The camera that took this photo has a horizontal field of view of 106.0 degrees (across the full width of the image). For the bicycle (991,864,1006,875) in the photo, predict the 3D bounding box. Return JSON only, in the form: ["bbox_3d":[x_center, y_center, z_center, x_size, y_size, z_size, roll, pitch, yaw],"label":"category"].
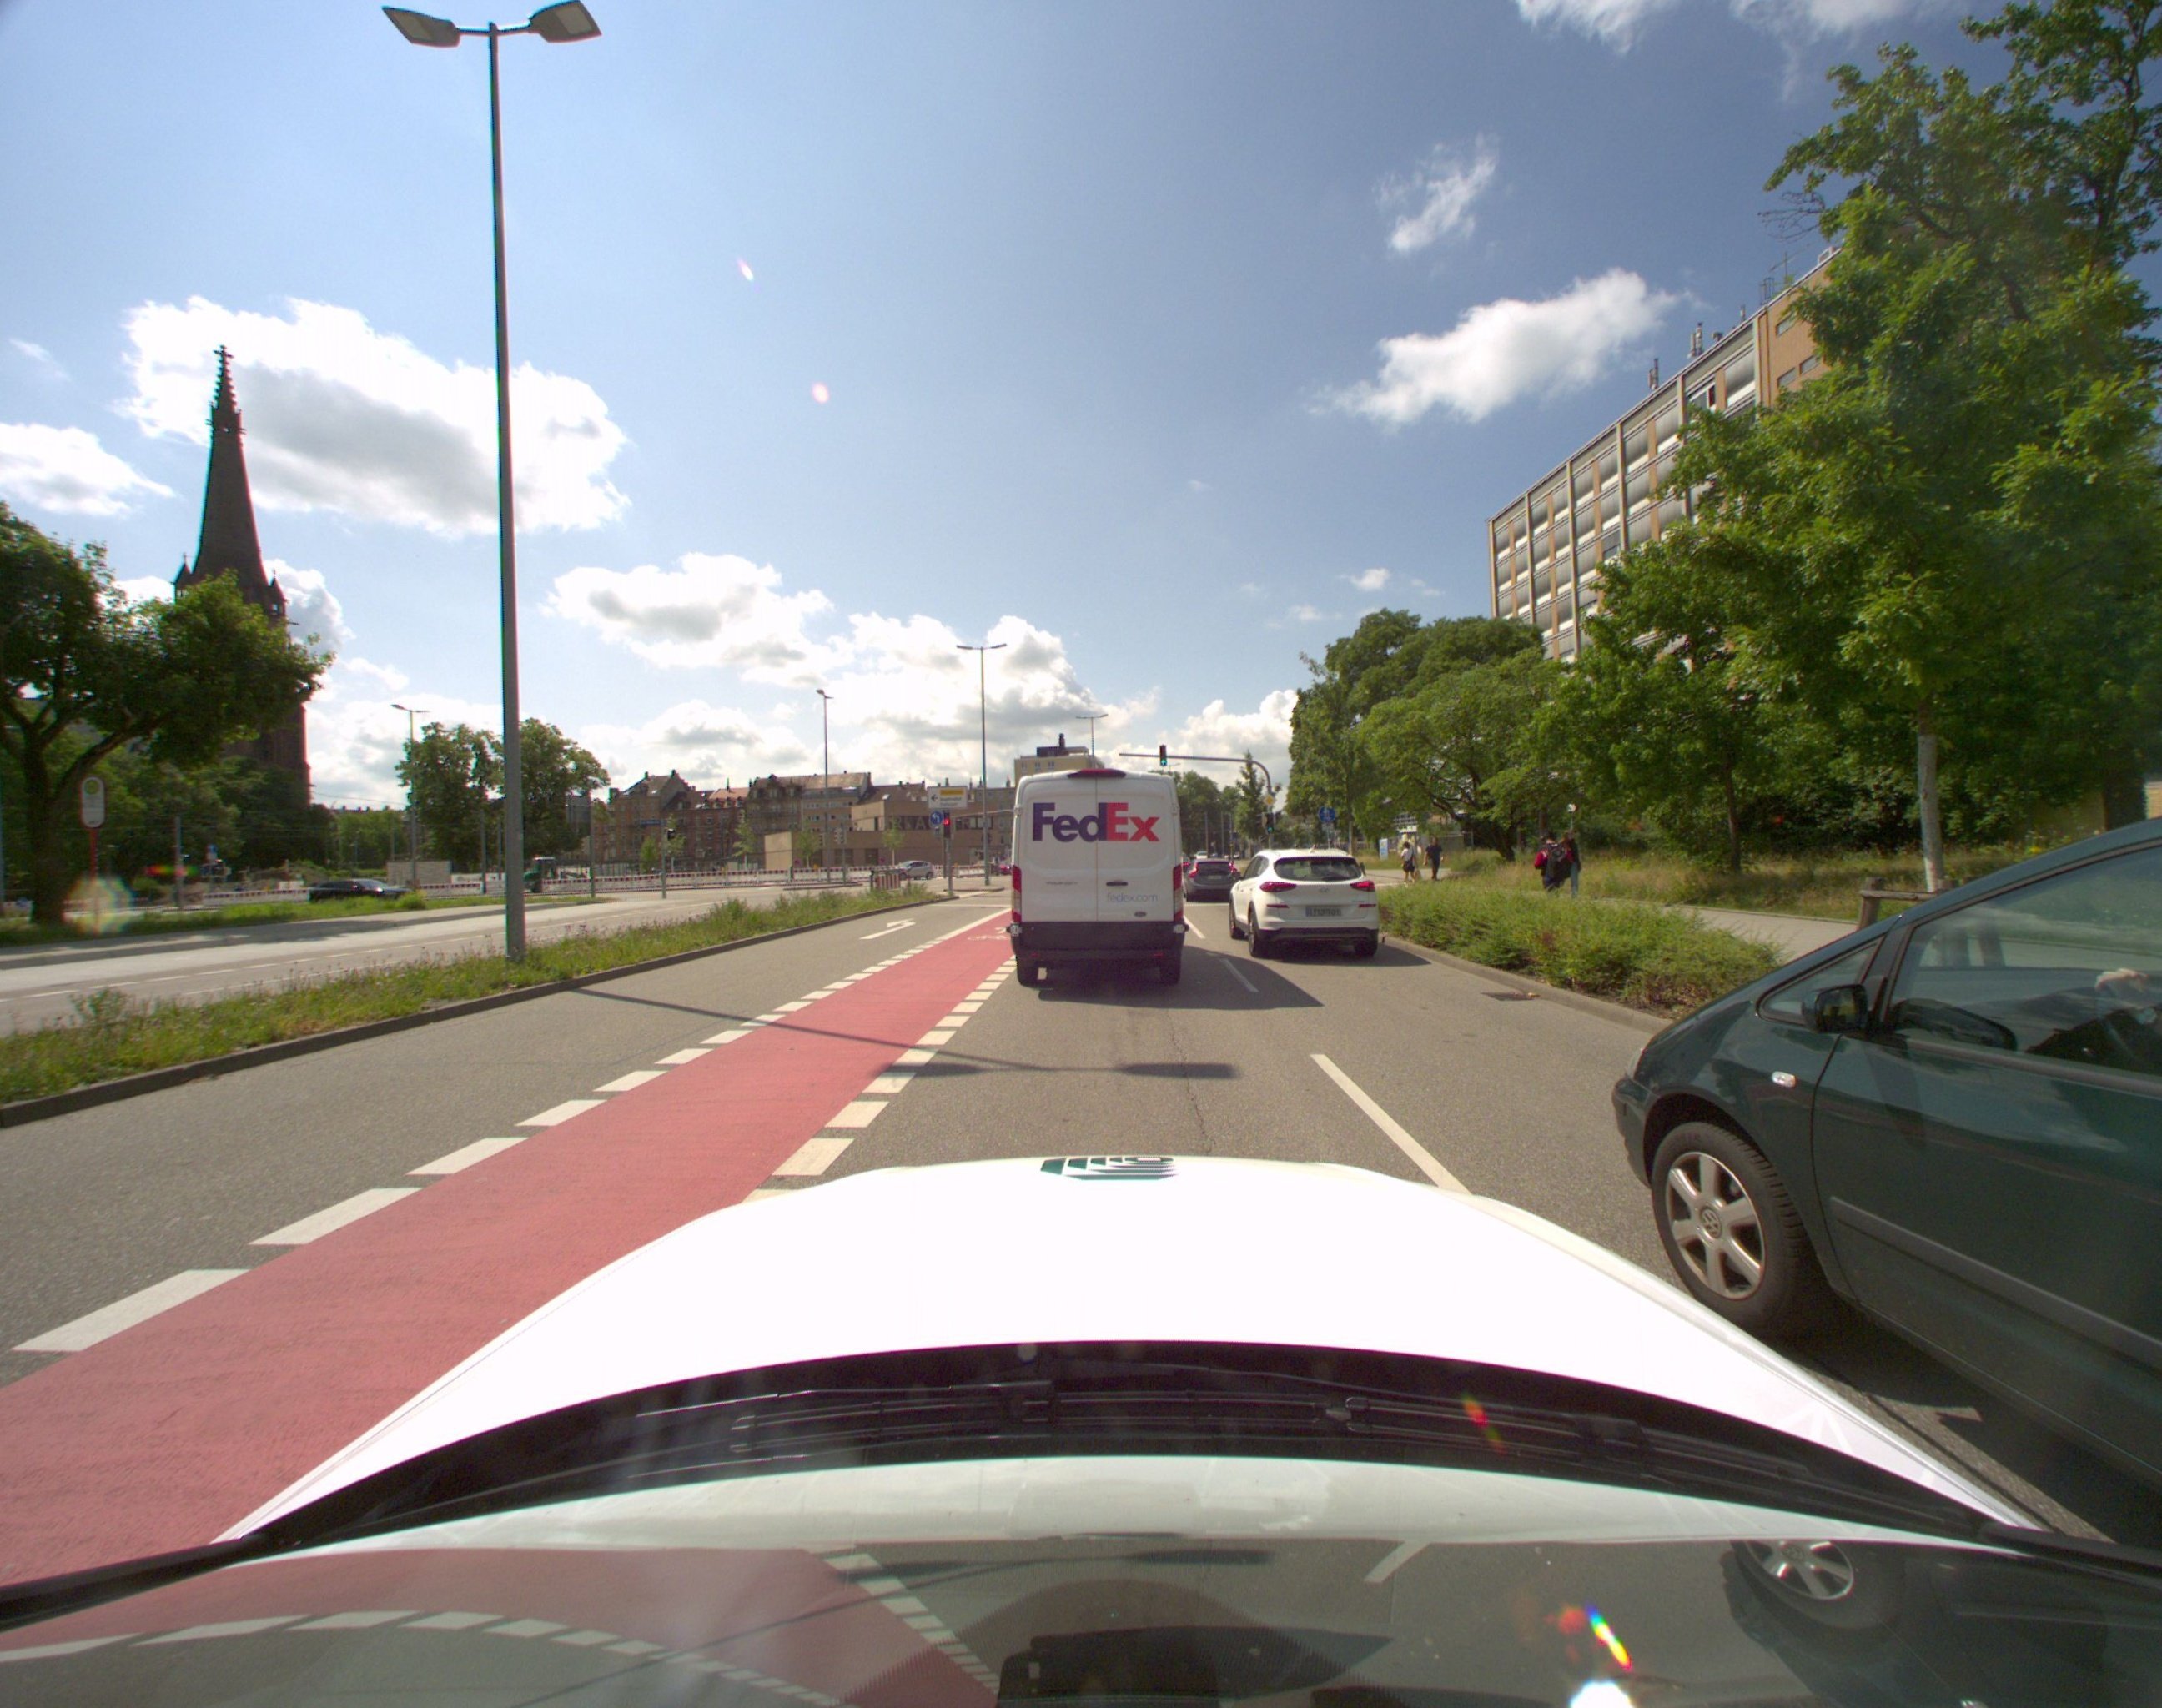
[{"bbox_3d":[-6.913,1.276,68.268,0.772,0.889,2.111,-2,0,5],"label":"bicycle"}]

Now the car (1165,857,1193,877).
[{"bbox_3d":[7.950,1.022,65.613,1.869,1.506,4.168,-1,0,11],"label":"car"}]

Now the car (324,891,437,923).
[{"bbox_3d":[-38.964,2.917,45.365,4.480,1.486,2.000,-2,0,1],"label":"car"}]

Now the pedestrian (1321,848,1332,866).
[{"bbox_3d":[25.095,0.305,83.318,0.752,1.821,0.781,-5,-1,4],"label":"pedestrian"}]

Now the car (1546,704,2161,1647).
[{"bbox_3d":[2.866,0.590,1.367,1.787,1.723,4.450,0,0,2],"label":"car"}]

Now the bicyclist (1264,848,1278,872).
[{"bbox_3d":[13.618,0.432,58.447,0.823,1.601,0.581,-4,-2,9],"label":"bicyclist"}]

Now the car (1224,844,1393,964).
[{"bbox_3d":[3.584,0.707,13.655,1.873,1.641,4.237,-2,0,4],"label":"car"}]

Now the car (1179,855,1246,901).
[{"bbox_3d":[4.492,0.782,28.247,1.906,1.420,3.922,-2,0,4],"label":"car"}]

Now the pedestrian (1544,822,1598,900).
[{"bbox_3d":[11.378,0.158,18.940,0.664,1.750,0.878,-3,0,1],"label":"pedestrian"}]

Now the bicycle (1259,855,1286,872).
[{"bbox_3d":[13.717,0.704,58.426,1.799,1.050,0.593,-4,-2,8],"label":"bicycle"}]

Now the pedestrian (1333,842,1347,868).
[{"bbox_3d":[17.770,0.073,55.873,0.745,1.752,0.611,-3,0,8],"label":"pedestrian"}]

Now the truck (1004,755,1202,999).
[{"bbox_3d":[0.332,0.273,11.861,2.129,2.640,5.919,-1,0,2],"label":"truck"}]

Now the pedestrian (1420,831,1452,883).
[{"bbox_3d":[12.457,0.112,28.628,0.746,1.750,0.667,-3,0,1],"label":"pedestrian"}]

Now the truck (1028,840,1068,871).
[{"bbox_3d":[-3.455,0.190,86.463,1.978,3.068,7.361,-1,-1,16],"label":"truck"}]

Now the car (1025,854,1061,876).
[{"bbox_3d":[-2.943,0.820,63.921,1.869,1.623,4.167,-1,0,10],"label":"car"}]

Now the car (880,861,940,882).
[{"bbox_3d":[-12.947,1.297,61.636,1.975,1.508,4.041,-1,-1,44],"label":"car"}]

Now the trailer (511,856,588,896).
[{"bbox_3d":[-39.422,1.608,60.525,1.974,2.914,4.393,-1,-1,38],"label":"trailer"}]

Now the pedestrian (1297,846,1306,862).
[{"bbox_3d":[21.564,0.019,79.679,0.752,1.590,0.762,-1,-1,4],"label":"pedestrian"}]

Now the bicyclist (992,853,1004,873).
[{"bbox_3d":[-6.933,0.756,68.267,0.772,1.618,0.844,-2,0,5],"label":"bicyclist"}]

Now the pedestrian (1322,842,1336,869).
[{"bbox_3d":[16.957,0.080,55.698,0.745,1.802,0.611,-3,0,8],"label":"pedestrian"}]

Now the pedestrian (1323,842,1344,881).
[{"bbox_3d":[11.723,0.358,37.755,0.665,1.746,0.608,-3,0,-4],"label":"pedestrian"}]

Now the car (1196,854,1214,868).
[{"bbox_3d":[19.107,1.116,125.379,1.977,2.014,4.143,-1,-1,20],"label":"car"}]

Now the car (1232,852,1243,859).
[{"bbox_3d":[40.781,0.387,212.623,1.976,1.574,4.201,-1,-1,23],"label":"car"}]

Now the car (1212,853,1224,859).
[{"bbox_3d":[36.214,0.459,214.959,1.976,1.574,4.201,-1,-1,23],"label":"car"}]

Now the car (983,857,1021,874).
[{"bbox_3d":[-7.300,1.041,75.628,1.978,1.486,3.923,-2,0,18],"label":"car"}]

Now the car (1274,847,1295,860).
[{"bbox_3d":[27.158,-0.101,108.785,1.863,1.641,3.981,-2,0,27],"label":"car"}]

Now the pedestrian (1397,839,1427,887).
[{"bbox_3d":[11.395,0.313,28.054,0.664,1.596,0.648,-3,0,1],"label":"pedestrian"}]

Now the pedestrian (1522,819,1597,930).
[{"bbox_3d":[7.943,0.329,13.546,0.664,1.750,0.848,-3,0,1],"label":"pedestrian"}]

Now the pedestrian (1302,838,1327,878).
[{"bbox_3d":[10.786,0.190,37.642,0.748,1.777,0.880,-3,0,-4],"label":"pedestrian"}]
